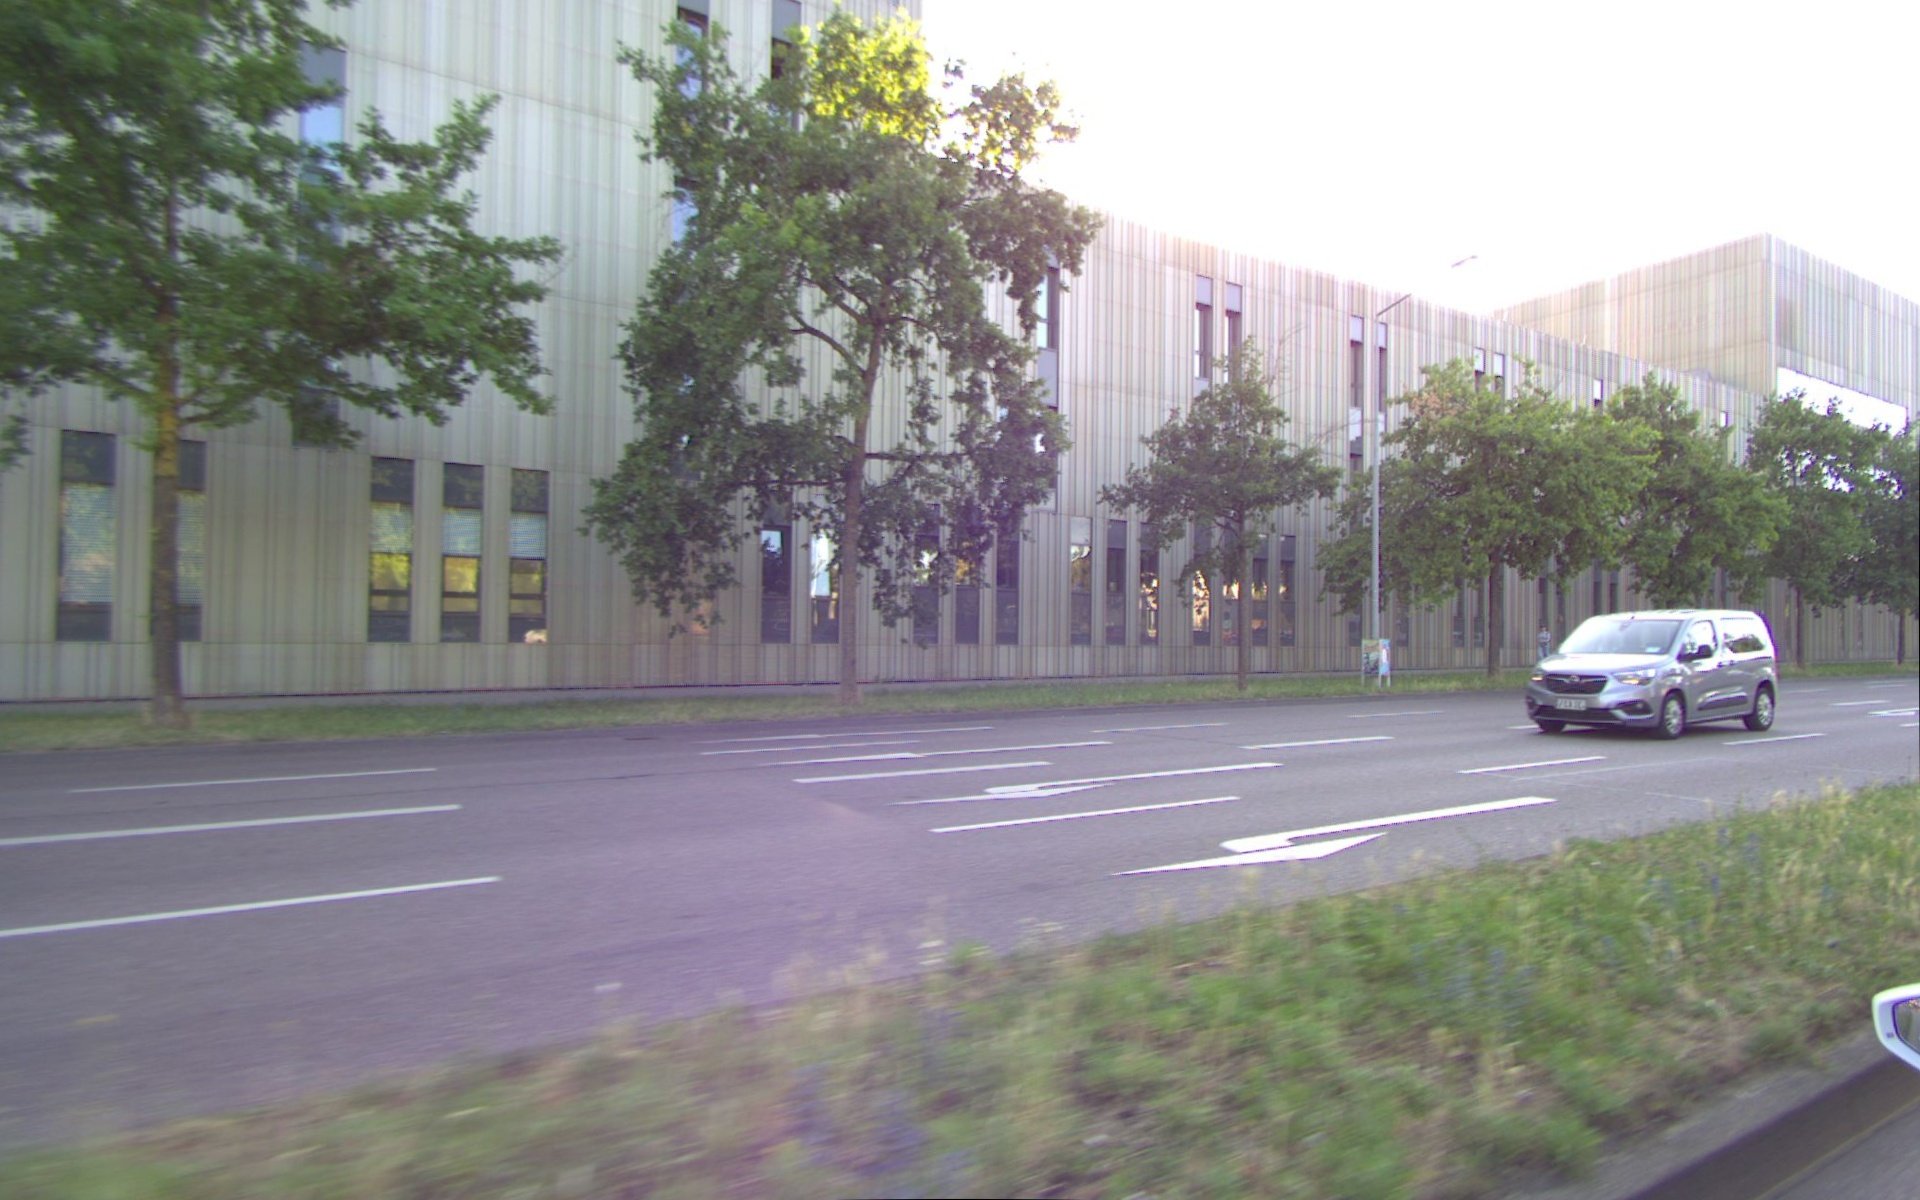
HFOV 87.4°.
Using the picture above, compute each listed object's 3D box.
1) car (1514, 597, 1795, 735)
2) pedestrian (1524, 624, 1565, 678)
[{"bbox_3d":[10.418,1.013,15.004,4.444,1.800,1.748,3,-6,-31],"label":"car"},{"bbox_3d":[23.107,2.008,39.726,0.950,2.040,1.014,2,0,-30],"label":"pedestrian"}]
